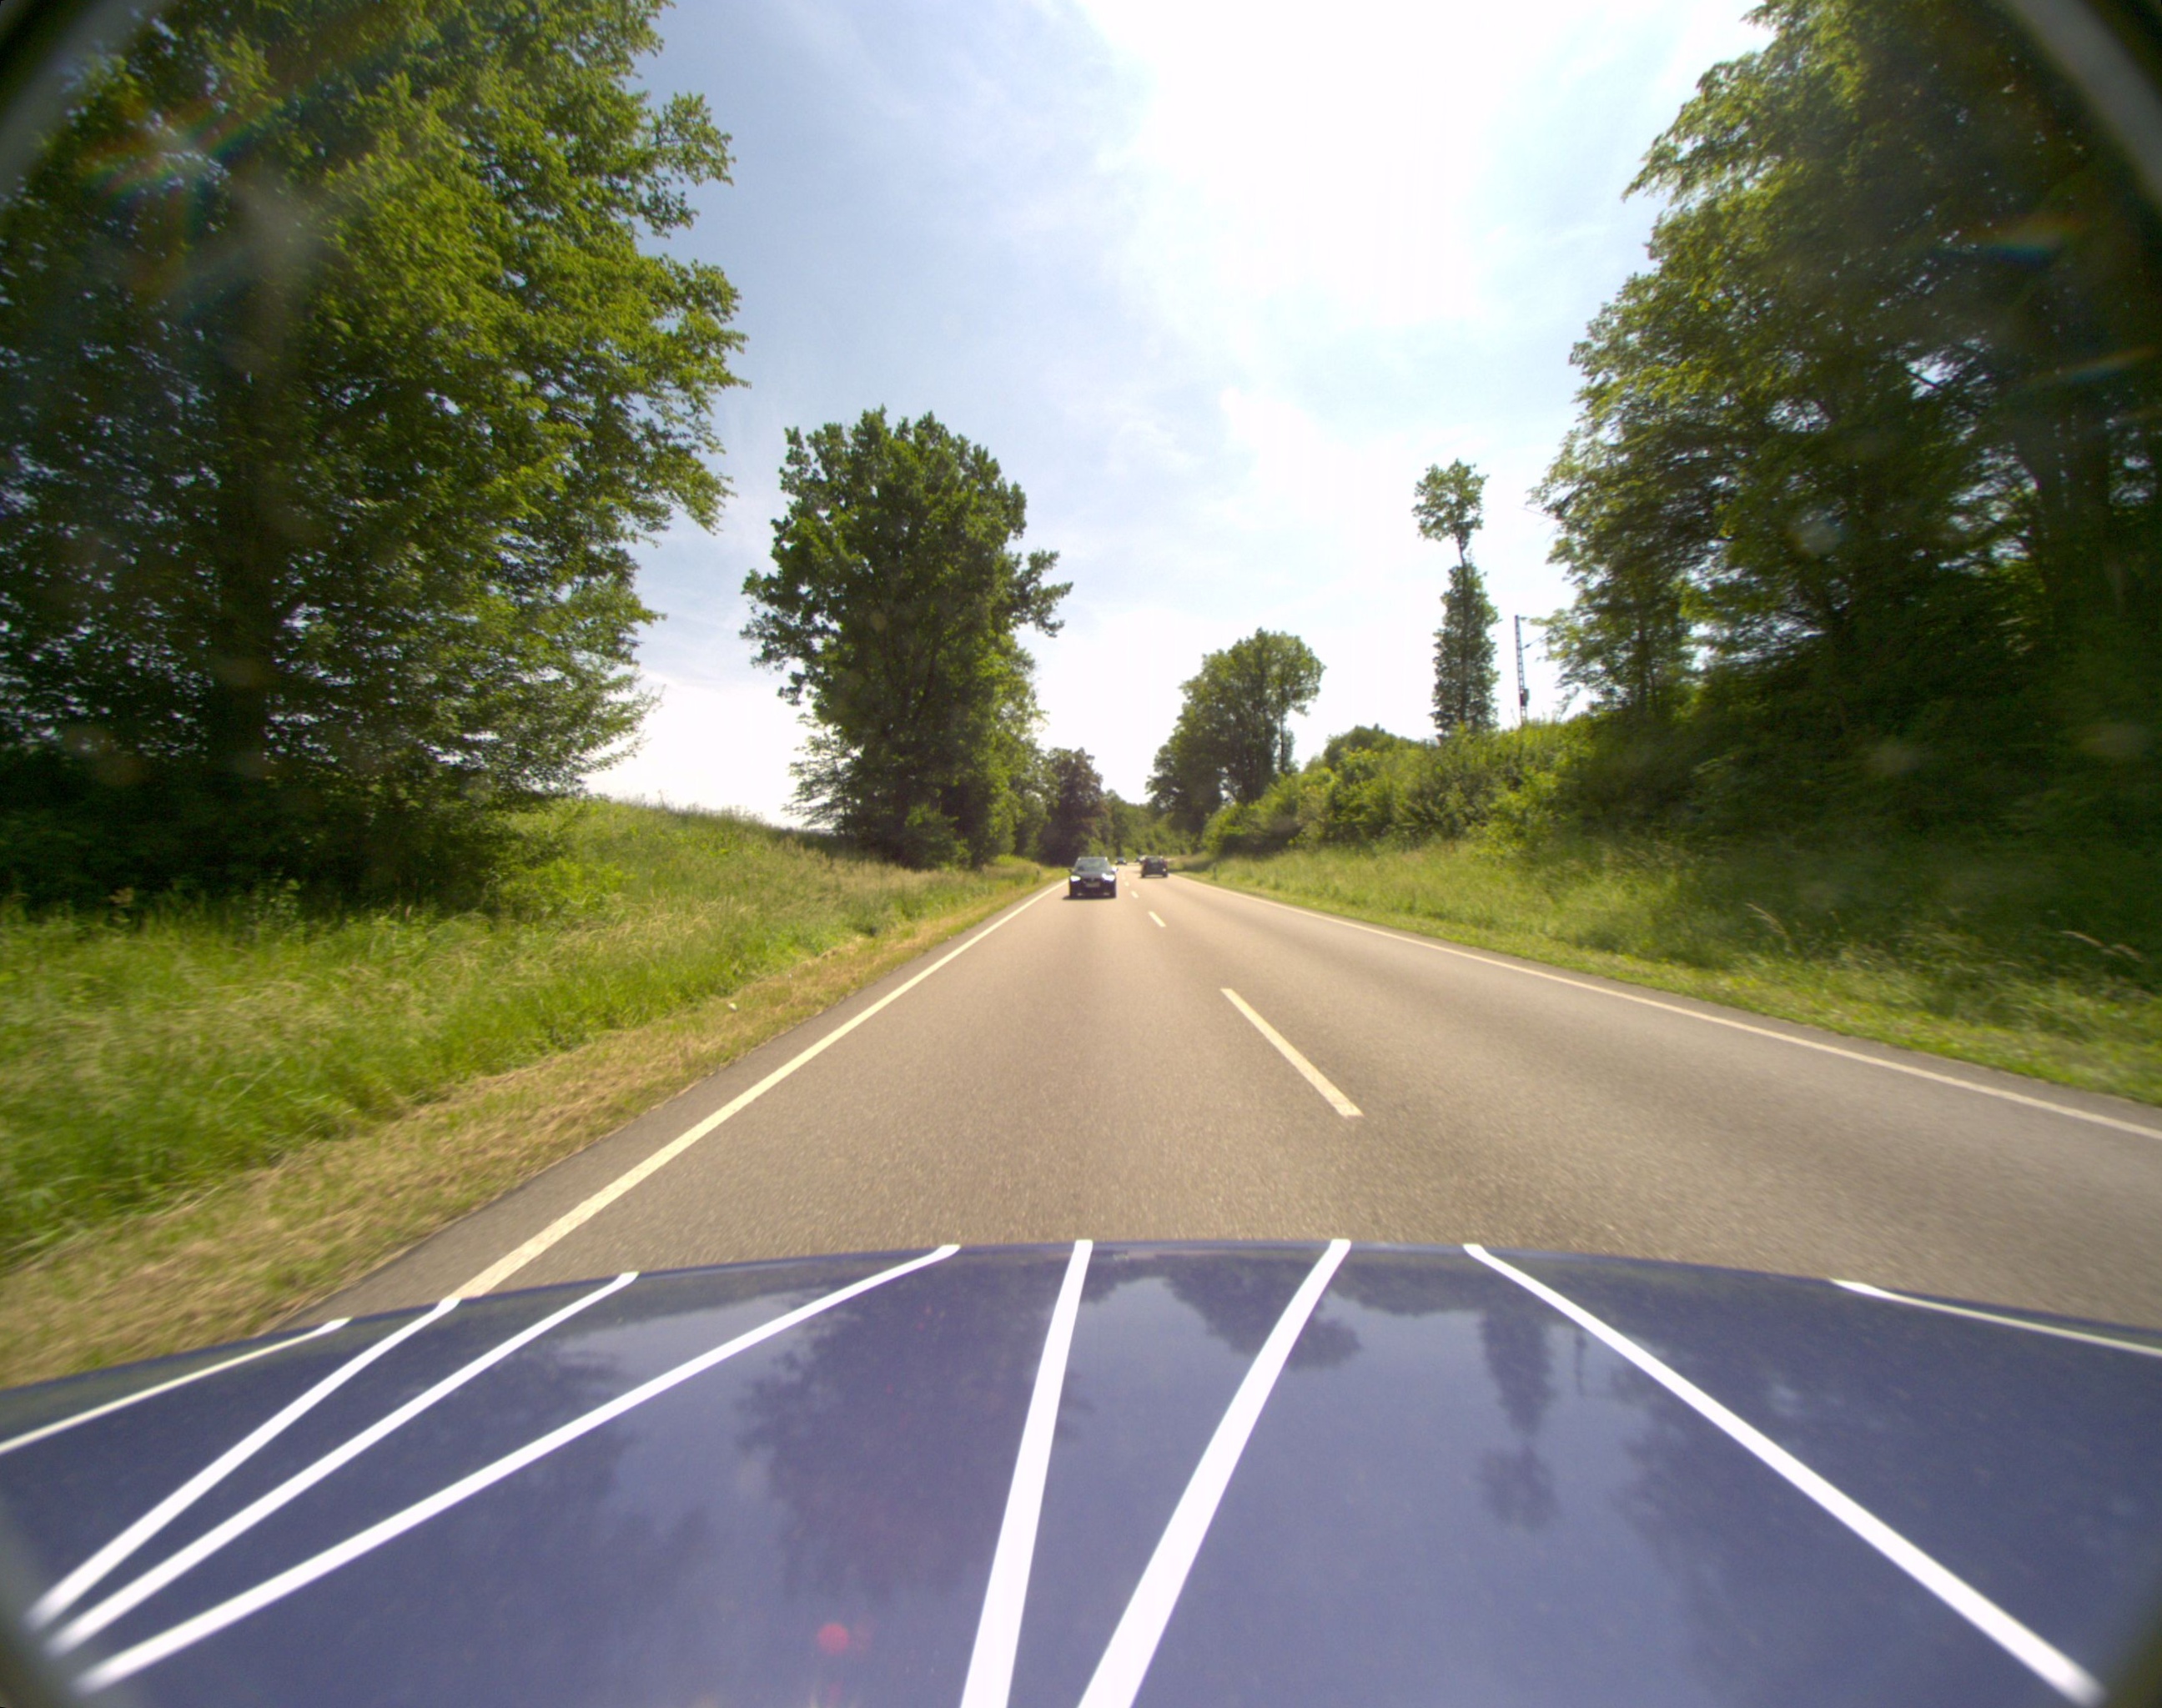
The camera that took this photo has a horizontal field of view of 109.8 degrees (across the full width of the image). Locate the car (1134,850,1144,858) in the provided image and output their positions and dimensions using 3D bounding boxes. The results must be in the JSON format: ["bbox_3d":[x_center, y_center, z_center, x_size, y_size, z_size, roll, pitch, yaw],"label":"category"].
[{"bbox_3d":[12.287,-0.069,161.478,1.810,1.580,4.003,-1,0,9],"label":"car"}]

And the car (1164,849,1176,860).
[{"bbox_3d":[16.746,0.141,142.862,1.997,2.002,4.002,-1,0,8],"label":"car"}]

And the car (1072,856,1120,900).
[{"bbox_3d":[0.634,0.858,28.996,1.661,1.531,3.487,-2,0,3],"label":"car"}]

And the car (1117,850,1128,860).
[{"bbox_3d":[6.963,0.211,128.282,1.811,1.580,4.001,-1,0,4],"label":"car"}]

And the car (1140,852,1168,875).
[{"bbox_3d":[5.176,0.669,54.291,1.776,1.561,4.218,-1,0,2],"label":"car"}]
